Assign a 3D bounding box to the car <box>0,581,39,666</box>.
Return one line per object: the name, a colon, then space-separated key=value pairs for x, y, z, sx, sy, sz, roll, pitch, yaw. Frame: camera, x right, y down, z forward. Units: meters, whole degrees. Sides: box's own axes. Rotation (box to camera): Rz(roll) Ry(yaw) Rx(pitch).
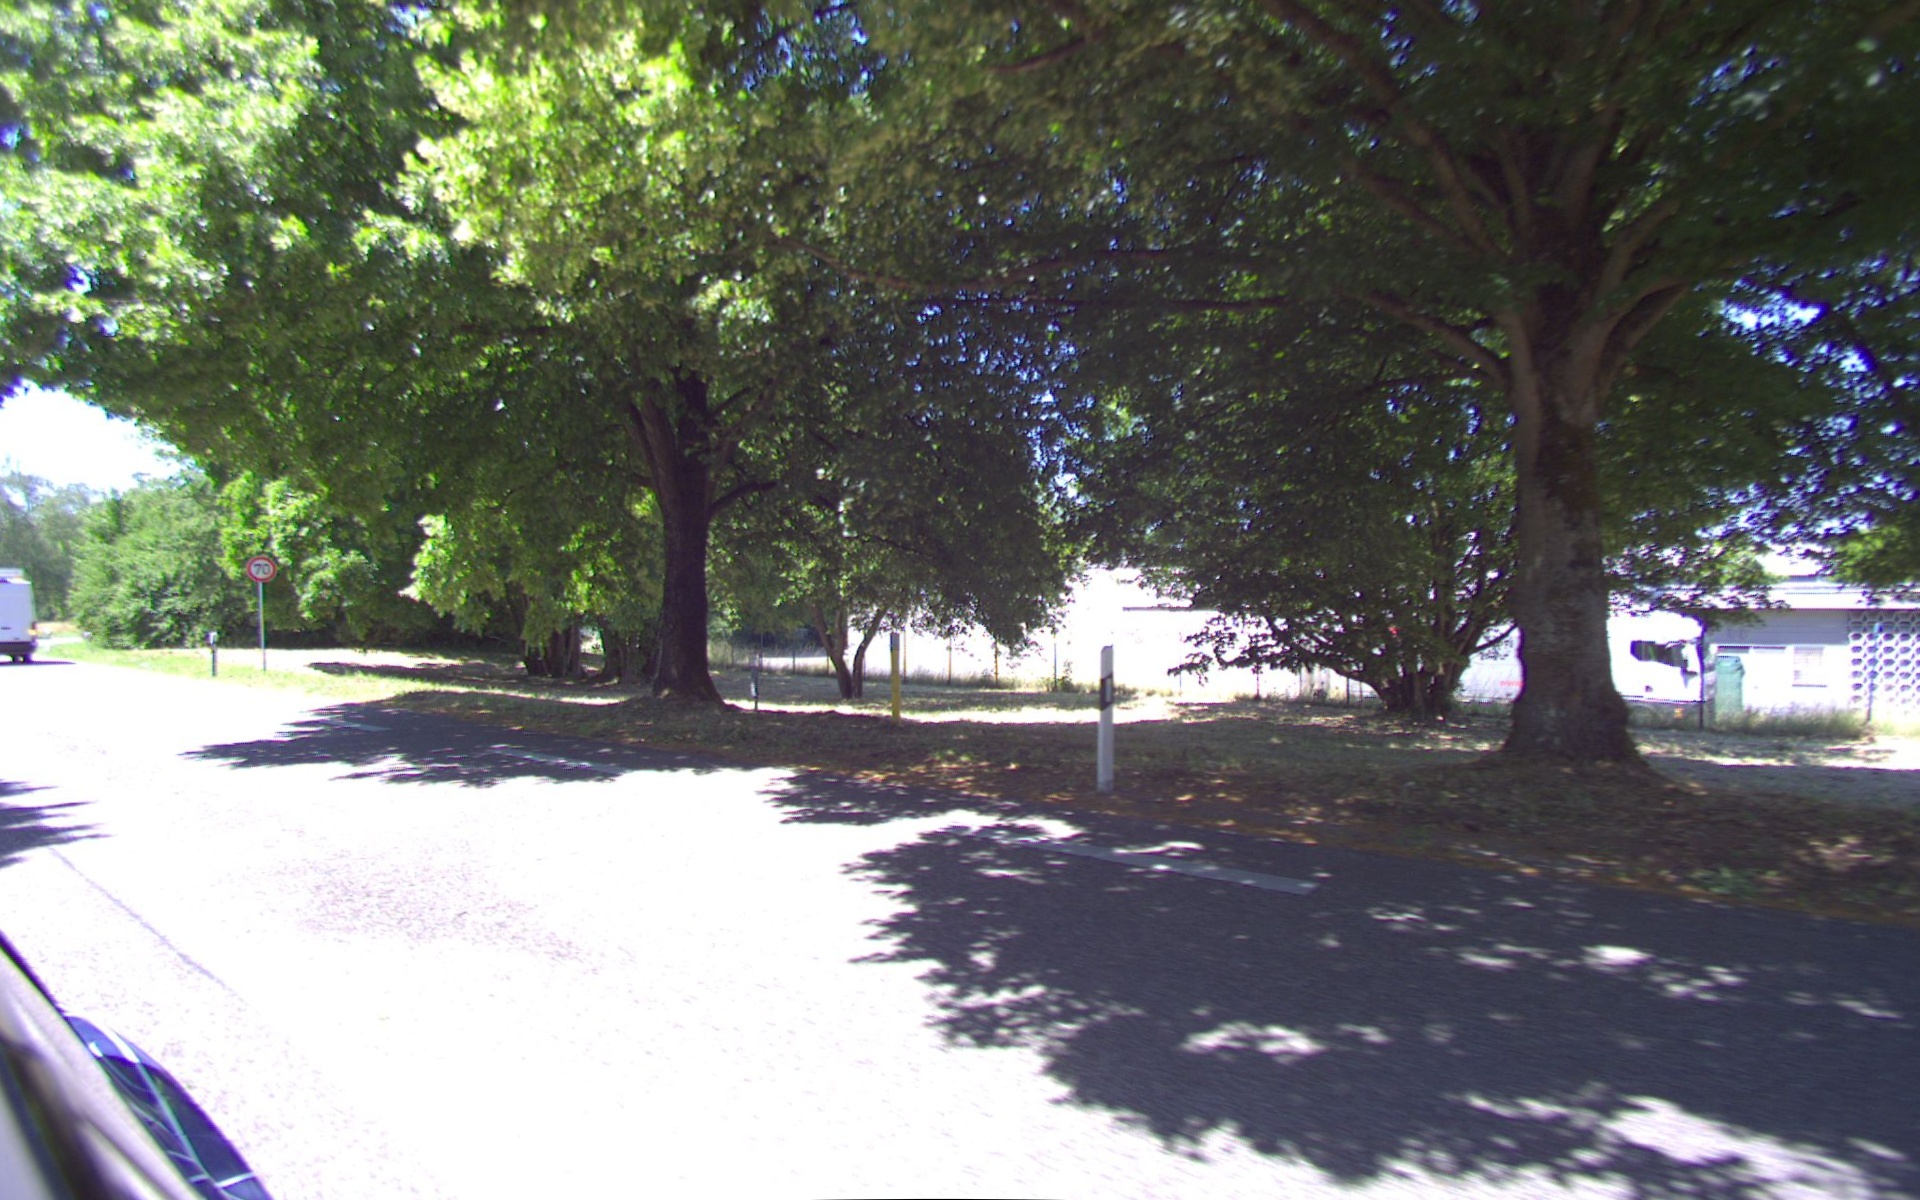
car: x=-32.468 y=0.777 z=33.691 sx=6.782 sy=2.647 sz=2.051 roll=-1 pitch=-1 yaw=42
